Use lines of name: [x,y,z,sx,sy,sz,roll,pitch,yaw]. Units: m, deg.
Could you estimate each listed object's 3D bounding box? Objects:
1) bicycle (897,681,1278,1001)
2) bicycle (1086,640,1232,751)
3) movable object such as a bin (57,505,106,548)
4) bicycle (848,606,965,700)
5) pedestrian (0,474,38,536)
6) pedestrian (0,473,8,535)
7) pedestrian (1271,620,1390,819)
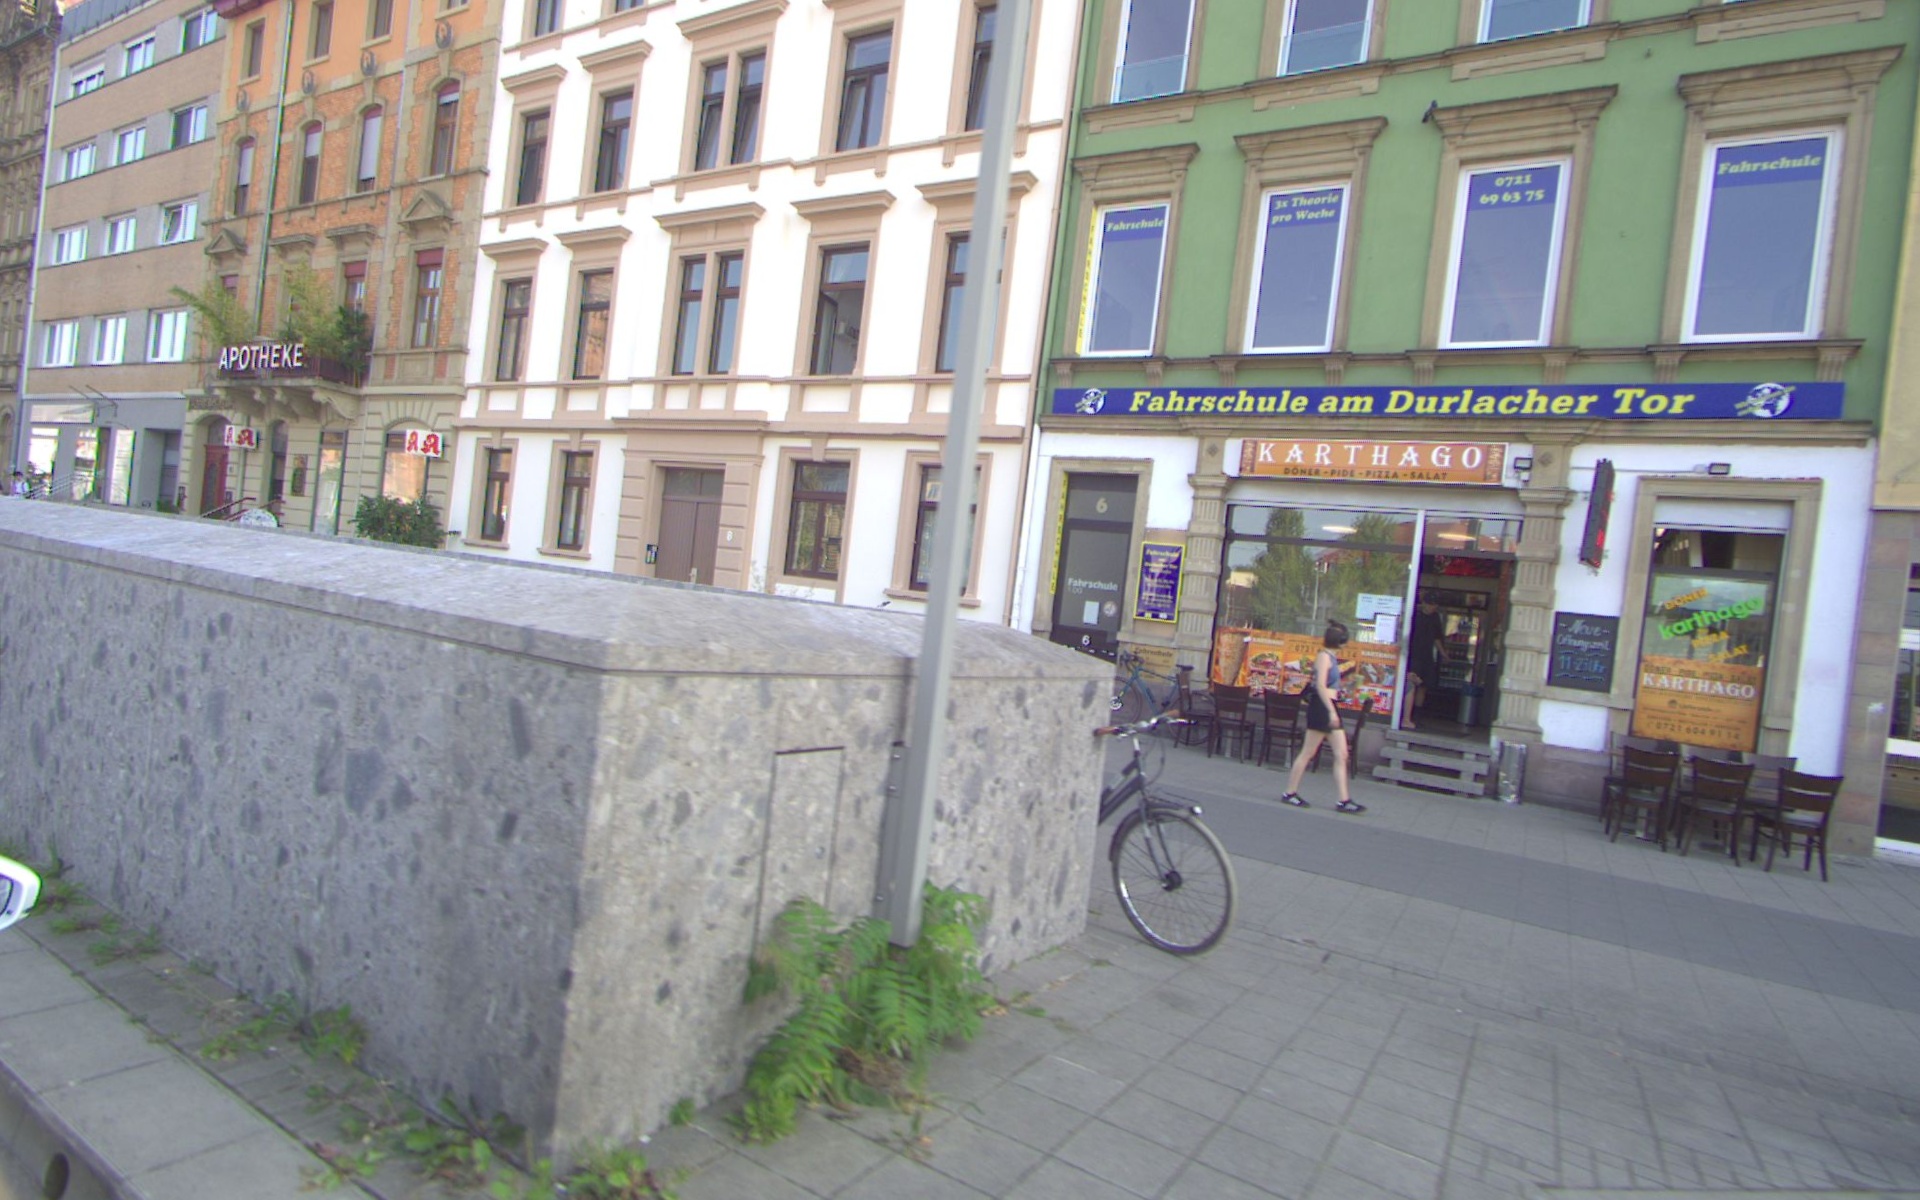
bicycle: [0.571,1.096,4.985,1.761,1.148,0.384,7,1,32]
bicycle: [2.514,1.191,12.809,1.691,1.148,0.384,7,1,32]
movable object such as a bin: [-25.362,-2.108,29.042,0.657,1.094,0.739,7,1,15]
bicycle: [-0.797,0.763,14.714,1.691,1.148,0.384,7,1,32]
pedestrian: [-30.122,-3.046,32.169,0.729,1.855,0.604,7,1,28]
pedestrian: [-28.983,-2.915,29.896,0.842,1.810,0.720,7,1,32]
pedestrian: [3.362,1.059,9.119,0.725,1.649,0.609,7,1,32]
